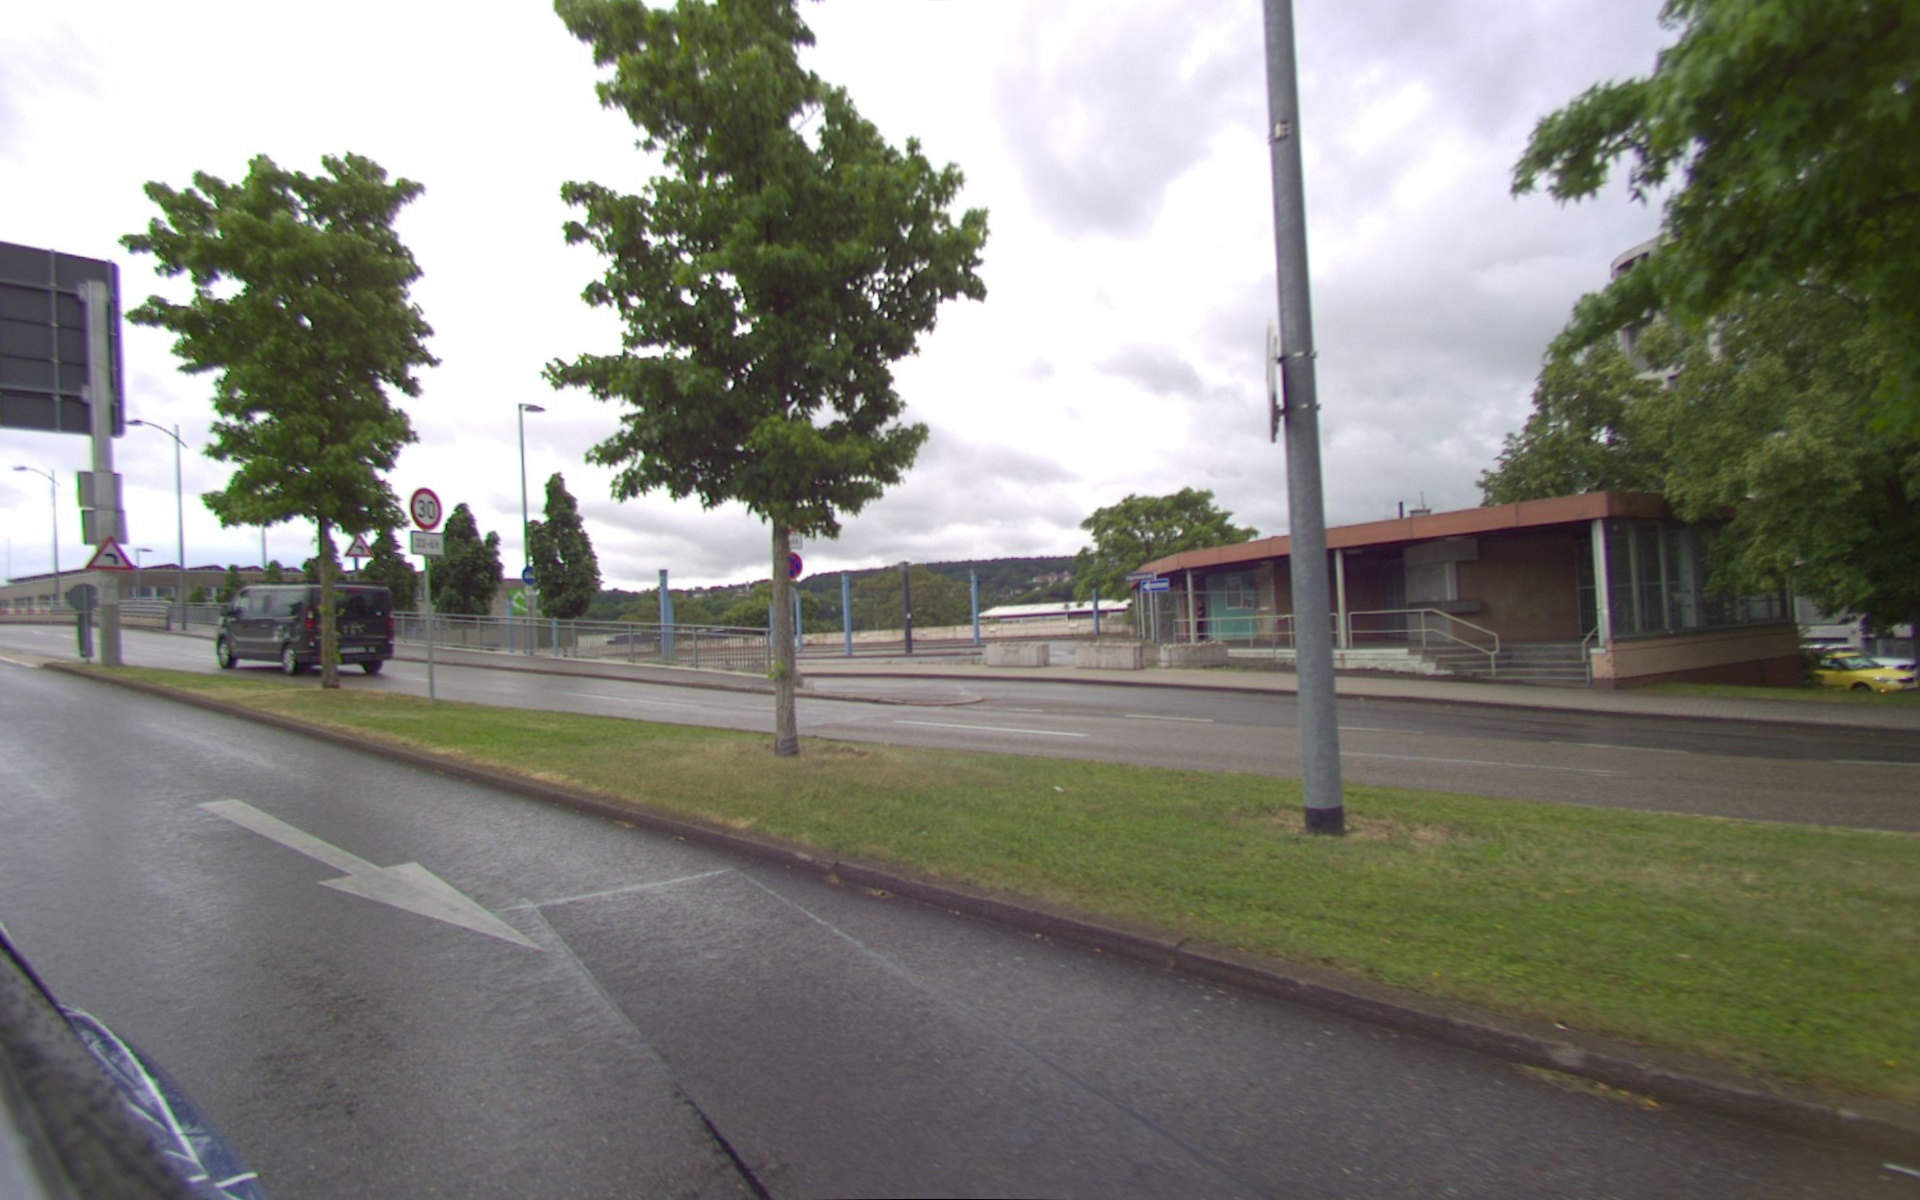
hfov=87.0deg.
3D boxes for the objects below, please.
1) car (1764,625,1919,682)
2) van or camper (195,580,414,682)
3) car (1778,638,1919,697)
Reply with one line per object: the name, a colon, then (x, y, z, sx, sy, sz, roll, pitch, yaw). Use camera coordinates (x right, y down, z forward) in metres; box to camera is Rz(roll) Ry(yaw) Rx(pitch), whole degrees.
car: (31.071, 1.834, 35.399, 1.699, 1.832, 4.440, -1, -2, -13)
van or camper: (-15.077, 0.657, 23.207, 5.267, 2.088, 2.199, 0, -2, 33)
car: (28.325, 2.075, 31.851, 1.699, 1.711, 3.660, -1, -2, -13)
